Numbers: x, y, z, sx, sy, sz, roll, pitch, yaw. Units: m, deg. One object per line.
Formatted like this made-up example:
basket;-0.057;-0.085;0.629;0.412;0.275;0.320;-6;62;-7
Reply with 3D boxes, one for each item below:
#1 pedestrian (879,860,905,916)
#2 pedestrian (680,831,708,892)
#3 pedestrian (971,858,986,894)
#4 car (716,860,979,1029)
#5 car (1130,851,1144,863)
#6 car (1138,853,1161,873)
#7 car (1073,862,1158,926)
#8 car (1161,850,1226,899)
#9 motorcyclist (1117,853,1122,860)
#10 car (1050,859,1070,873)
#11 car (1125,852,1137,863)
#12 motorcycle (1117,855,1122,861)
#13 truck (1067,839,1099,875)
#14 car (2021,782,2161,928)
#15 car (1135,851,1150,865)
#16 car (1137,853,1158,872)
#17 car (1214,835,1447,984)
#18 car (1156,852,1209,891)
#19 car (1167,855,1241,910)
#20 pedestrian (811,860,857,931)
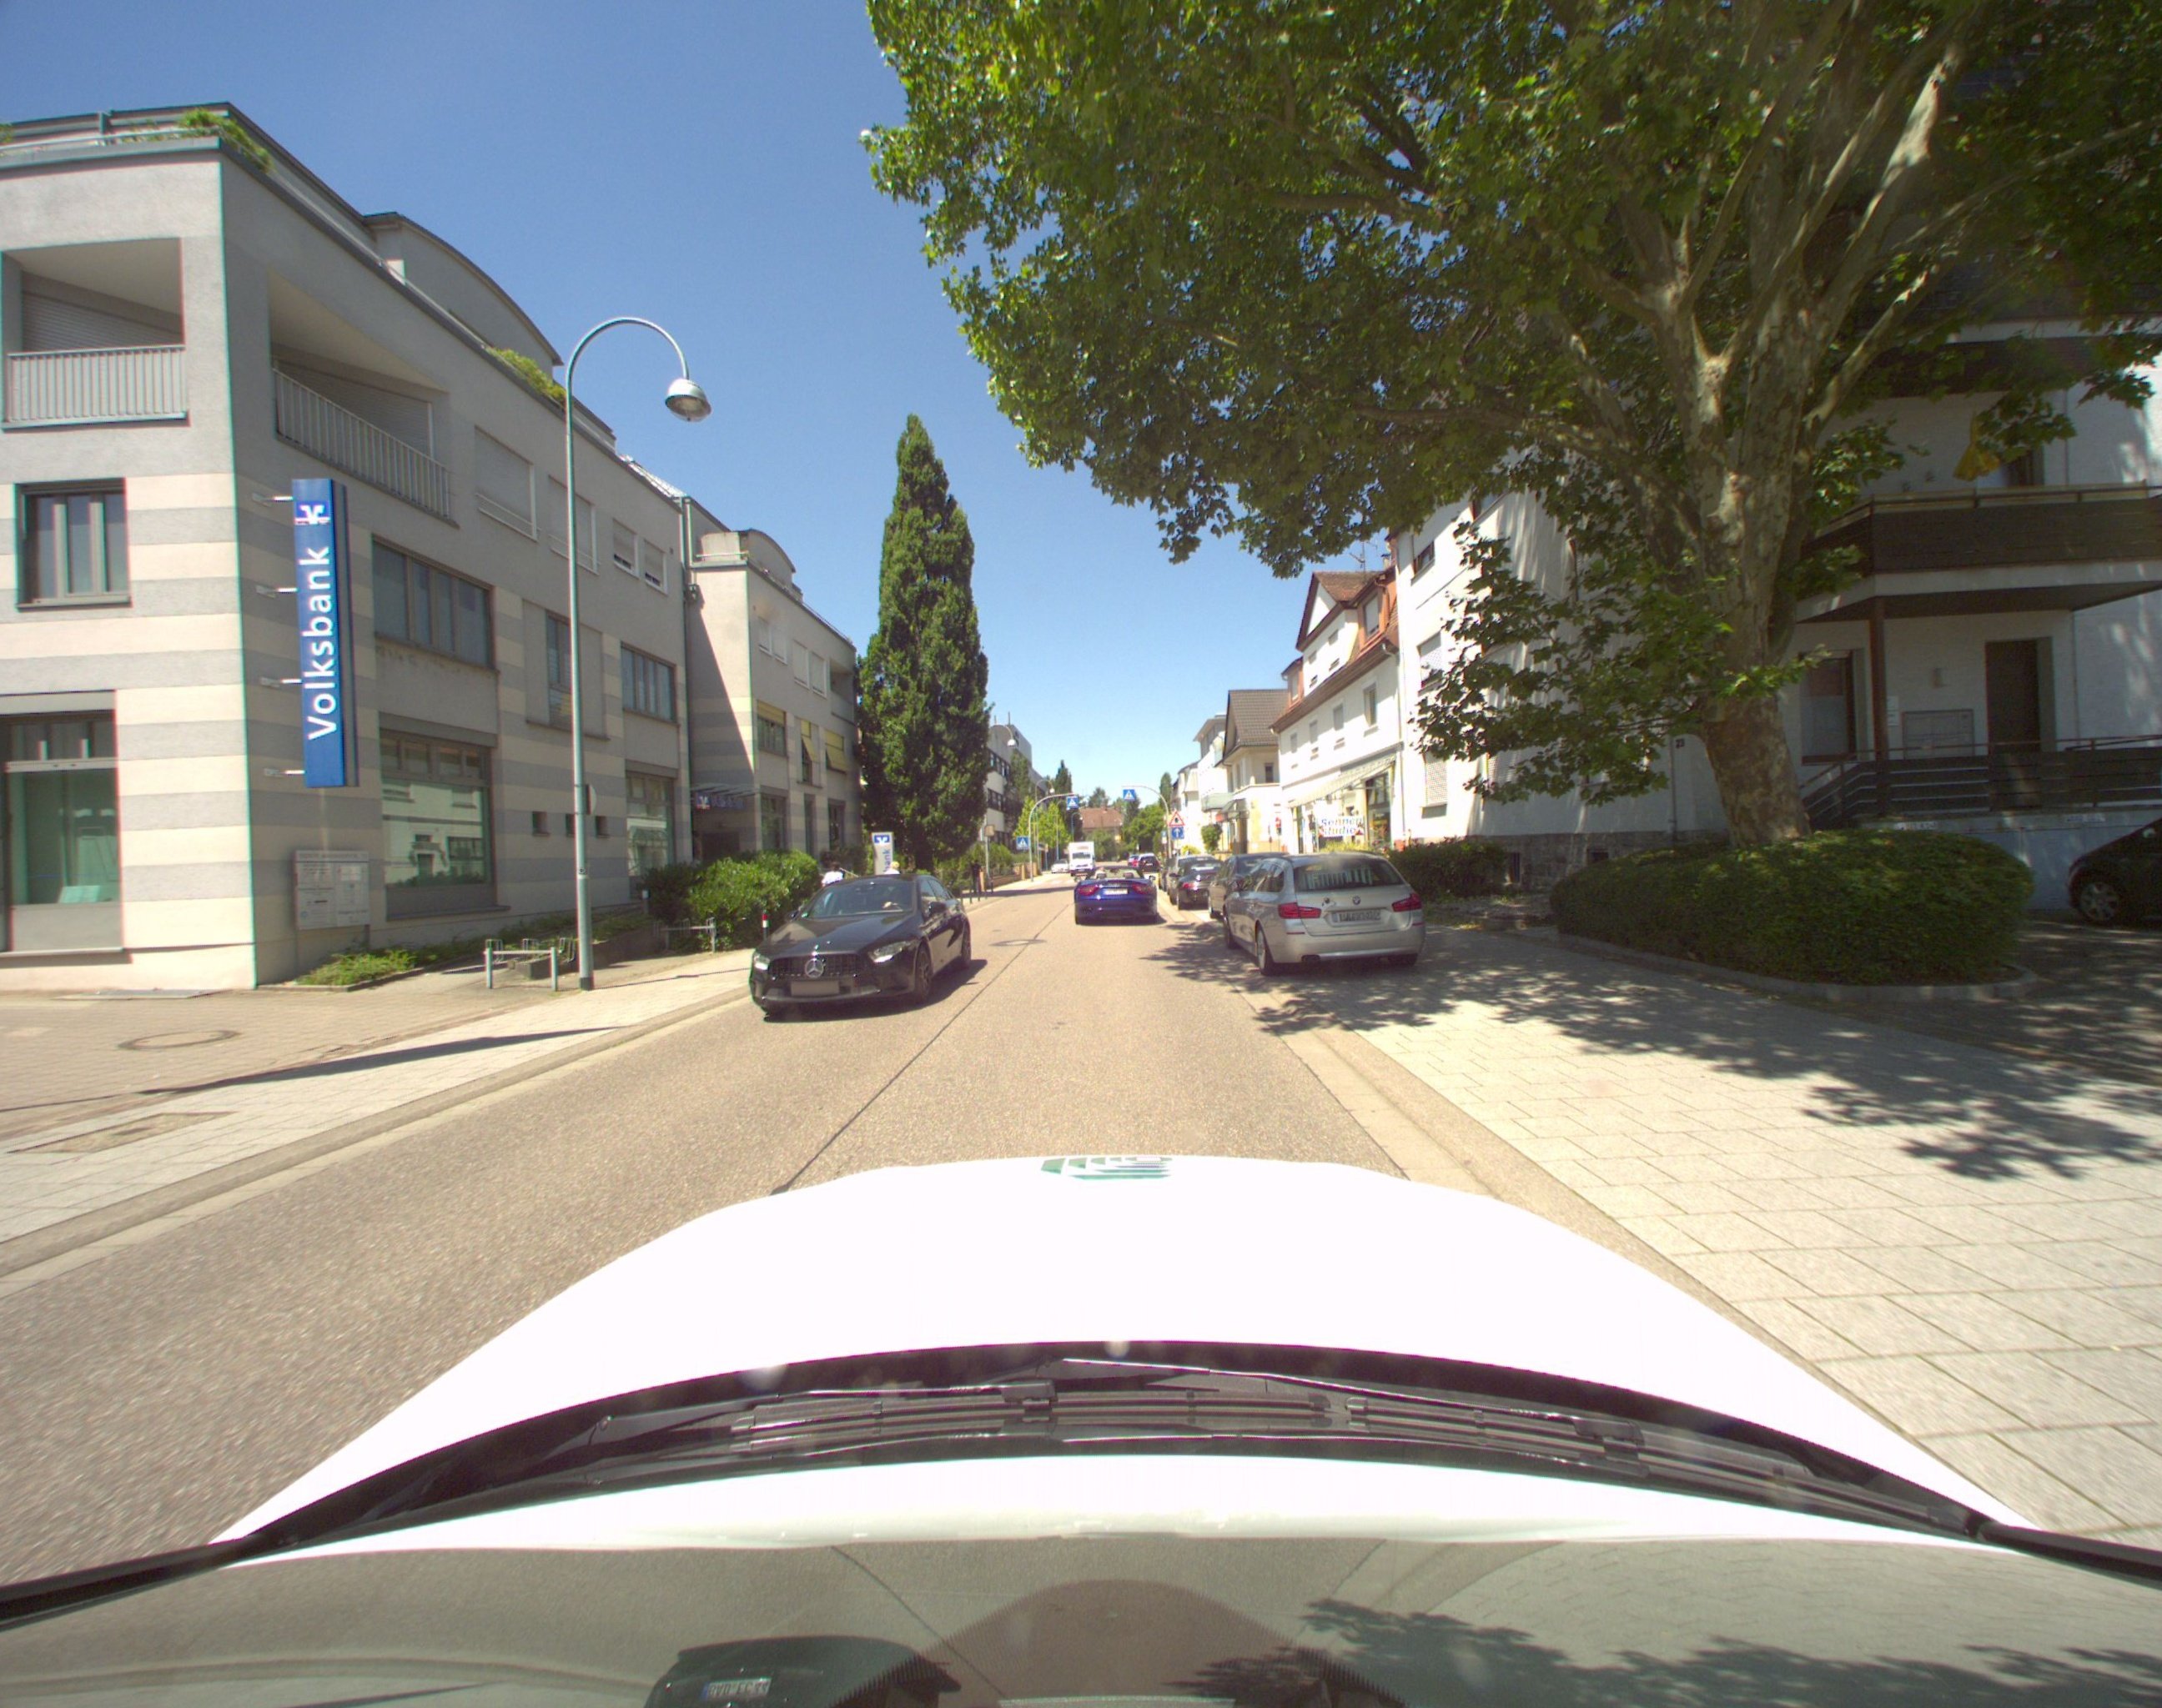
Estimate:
pedestrian;-5.797;1.025;25.029;0.534;1.685;0.709;-2;-1;2
pedestrian;-11.247;0.208;23.664;0.584;1.739;0.605;-2;-1;-34
pedestrian;-4.886;1.042;38.674;0.534;1.685;0.709;-2;-1;2
car;-2.580;0.909;10.200;1.822;1.511;4.264;-5;0;2
car;7.742;0.408;113.137;1.836;1.619;4.430;-4;0;3
car;5.725;0.758;68.450;1.698;1.556;4.751;-3;0;3
car;0.856;0.884;20.043;1.819;1.337;4.703;-1;0;2
car;3.897;0.673;28.964;1.737;1.468;4.855;-5;0;2
motorcyclist;7.919;0.516;167.118;0.694;1.433;0.709;-4;-1;11
car;-2.311;1.255;88.850;1.815;1.411;4.580;-1;0;3
car;7.816;0.516;127.868;1.625;1.446;4.400;-5;0;2
motorcycle;7.970;0.859;167.250;0.694;1.107;1.796;-4;0;11
truck;0.209;0.278;72.839;2.410;2.983;6.261;-3;0;2
car;12.085;-0.024;7.971;1.673;1.543;4.114;-3;0;14
car;7.268;0.478;96.044;1.596;1.440;3.857;-5;0;4
car;6.041;0.741;74.353;1.698;1.666;4.583;-2;0;3
car;3.099;0.616;11.241;1.822;1.511;4.762;-4;0;2
car;4.262;0.715;34.902;1.819;1.427;4.703;-3;0;2
car;3.412;0.754;23.271;1.552;1.340;4.175;-4;0;2
pedestrian;-5.974;0.990;19.708;0.745;1.645;0.849;-3;-1;3
